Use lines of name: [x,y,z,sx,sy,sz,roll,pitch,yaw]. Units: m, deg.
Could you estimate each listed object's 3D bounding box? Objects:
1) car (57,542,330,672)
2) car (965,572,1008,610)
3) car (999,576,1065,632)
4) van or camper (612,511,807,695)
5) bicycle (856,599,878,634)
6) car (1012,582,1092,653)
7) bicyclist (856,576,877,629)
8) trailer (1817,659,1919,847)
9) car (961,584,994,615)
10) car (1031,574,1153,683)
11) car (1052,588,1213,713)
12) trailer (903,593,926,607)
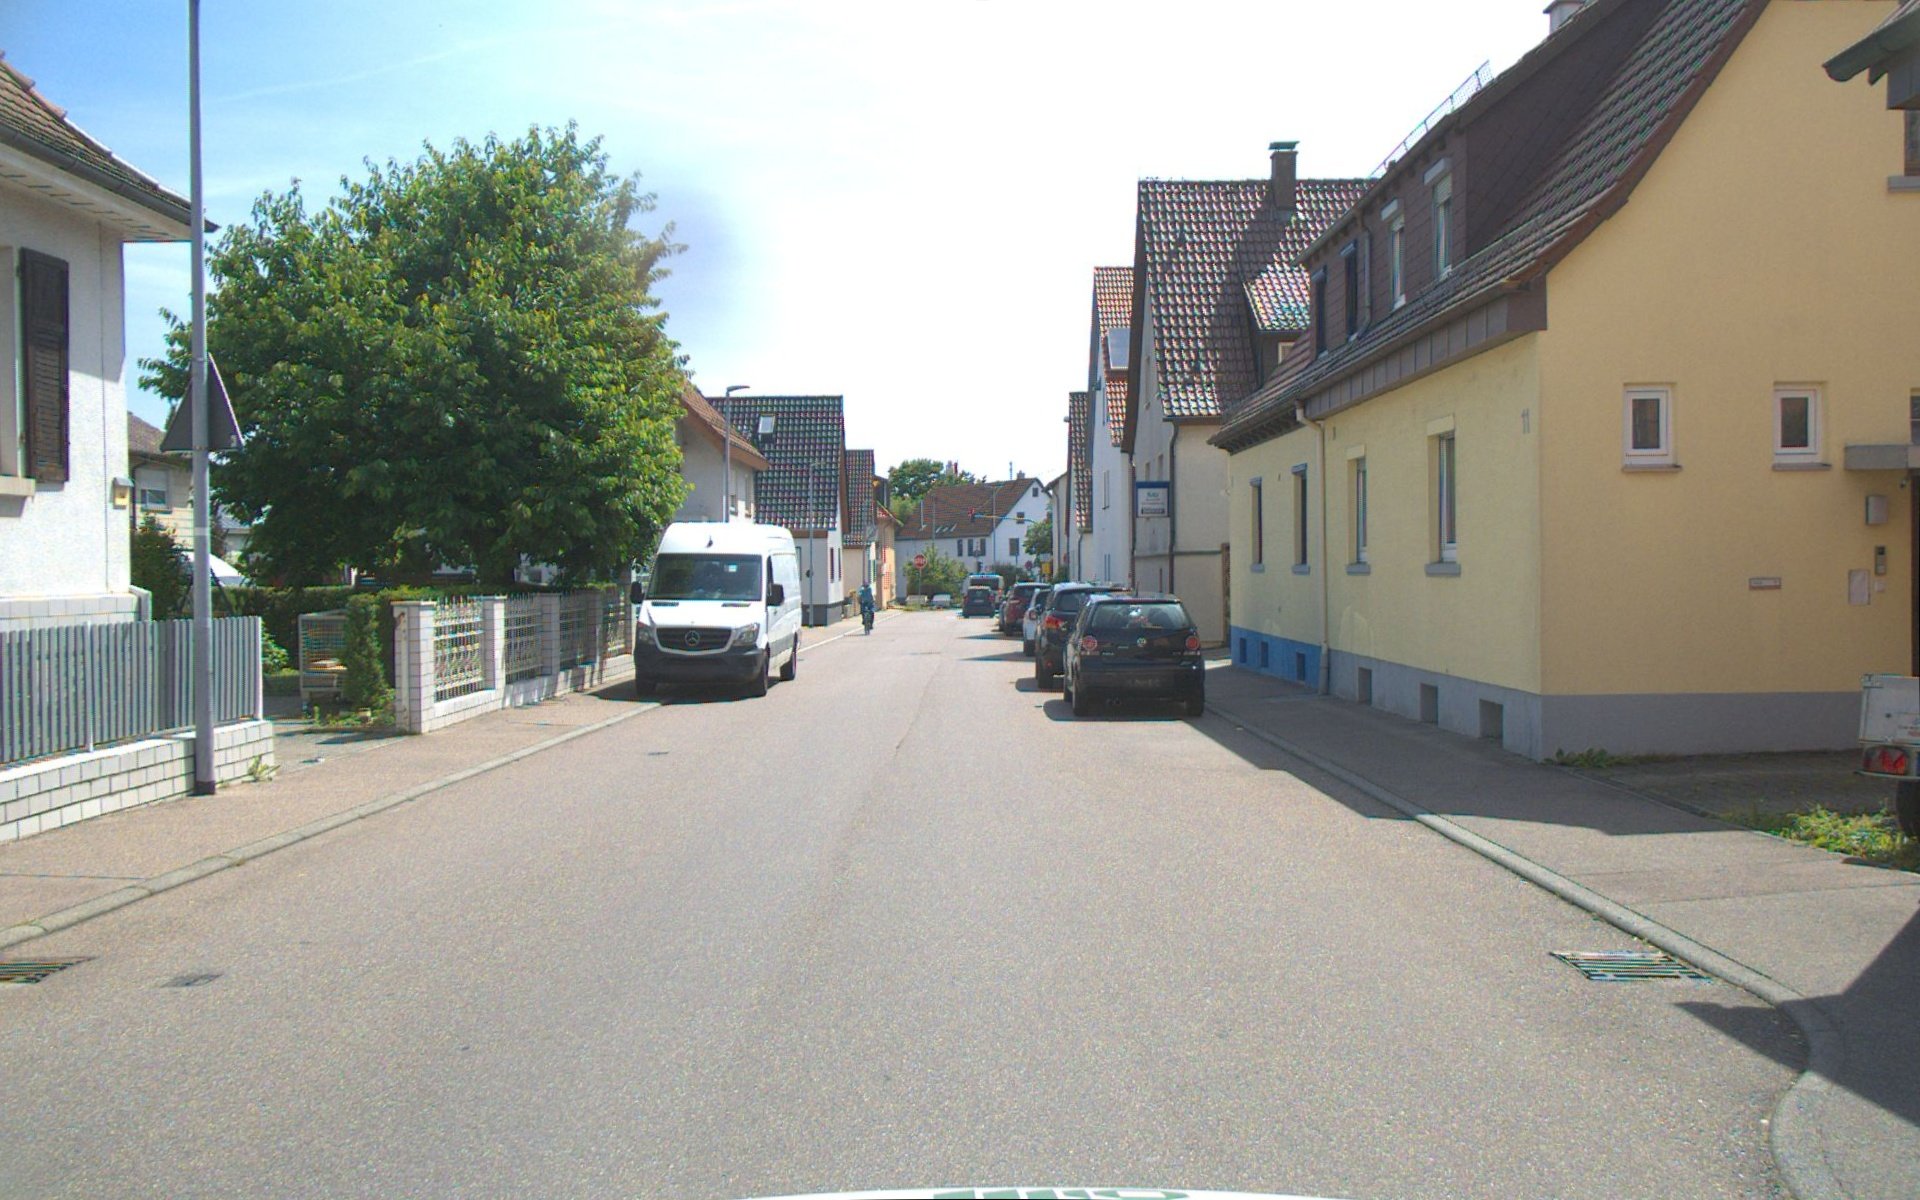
car: [-15.840,0.134,34.365,4.705,2.536,1.965,-1,0,-1]
car: [1.609,-0.535,99.095,2.083,2.196,4.740,-1,0,6]
car: [2.304,0.106,53.896,1.838,1.730,4.182,0,1,-2]
van or camper: [-3.876,0.012,26.952,2.140,2.616,6.807,0,1,0]
bicycle: [-3.222,0.553,57.316,0.656,1.152,2.189,0,0,-1]
car: [2.119,0.383,38.766,1.640,1.586,3.039,0,1,-2]
bicyclist: [-3.232,0.089,57.369,0.698,1.830,0.942,0,0,-2]
trailer: [5.862,0.800,8.980,2.112,0.915,1.230,-1,0,-30]
car: [0.916,-0.044,84.996,1.484,1.594,3.186,0,0,4]
car: [2.067,0.410,26.826,1.693,1.627,4.254,0,1,1]
car: [2.132,0.574,21.269,1.578,1.456,3.753,0,1,-2]
trailer: [-3.147,0.012,114.756,1.470,0.943,1.012,1,0,2]
